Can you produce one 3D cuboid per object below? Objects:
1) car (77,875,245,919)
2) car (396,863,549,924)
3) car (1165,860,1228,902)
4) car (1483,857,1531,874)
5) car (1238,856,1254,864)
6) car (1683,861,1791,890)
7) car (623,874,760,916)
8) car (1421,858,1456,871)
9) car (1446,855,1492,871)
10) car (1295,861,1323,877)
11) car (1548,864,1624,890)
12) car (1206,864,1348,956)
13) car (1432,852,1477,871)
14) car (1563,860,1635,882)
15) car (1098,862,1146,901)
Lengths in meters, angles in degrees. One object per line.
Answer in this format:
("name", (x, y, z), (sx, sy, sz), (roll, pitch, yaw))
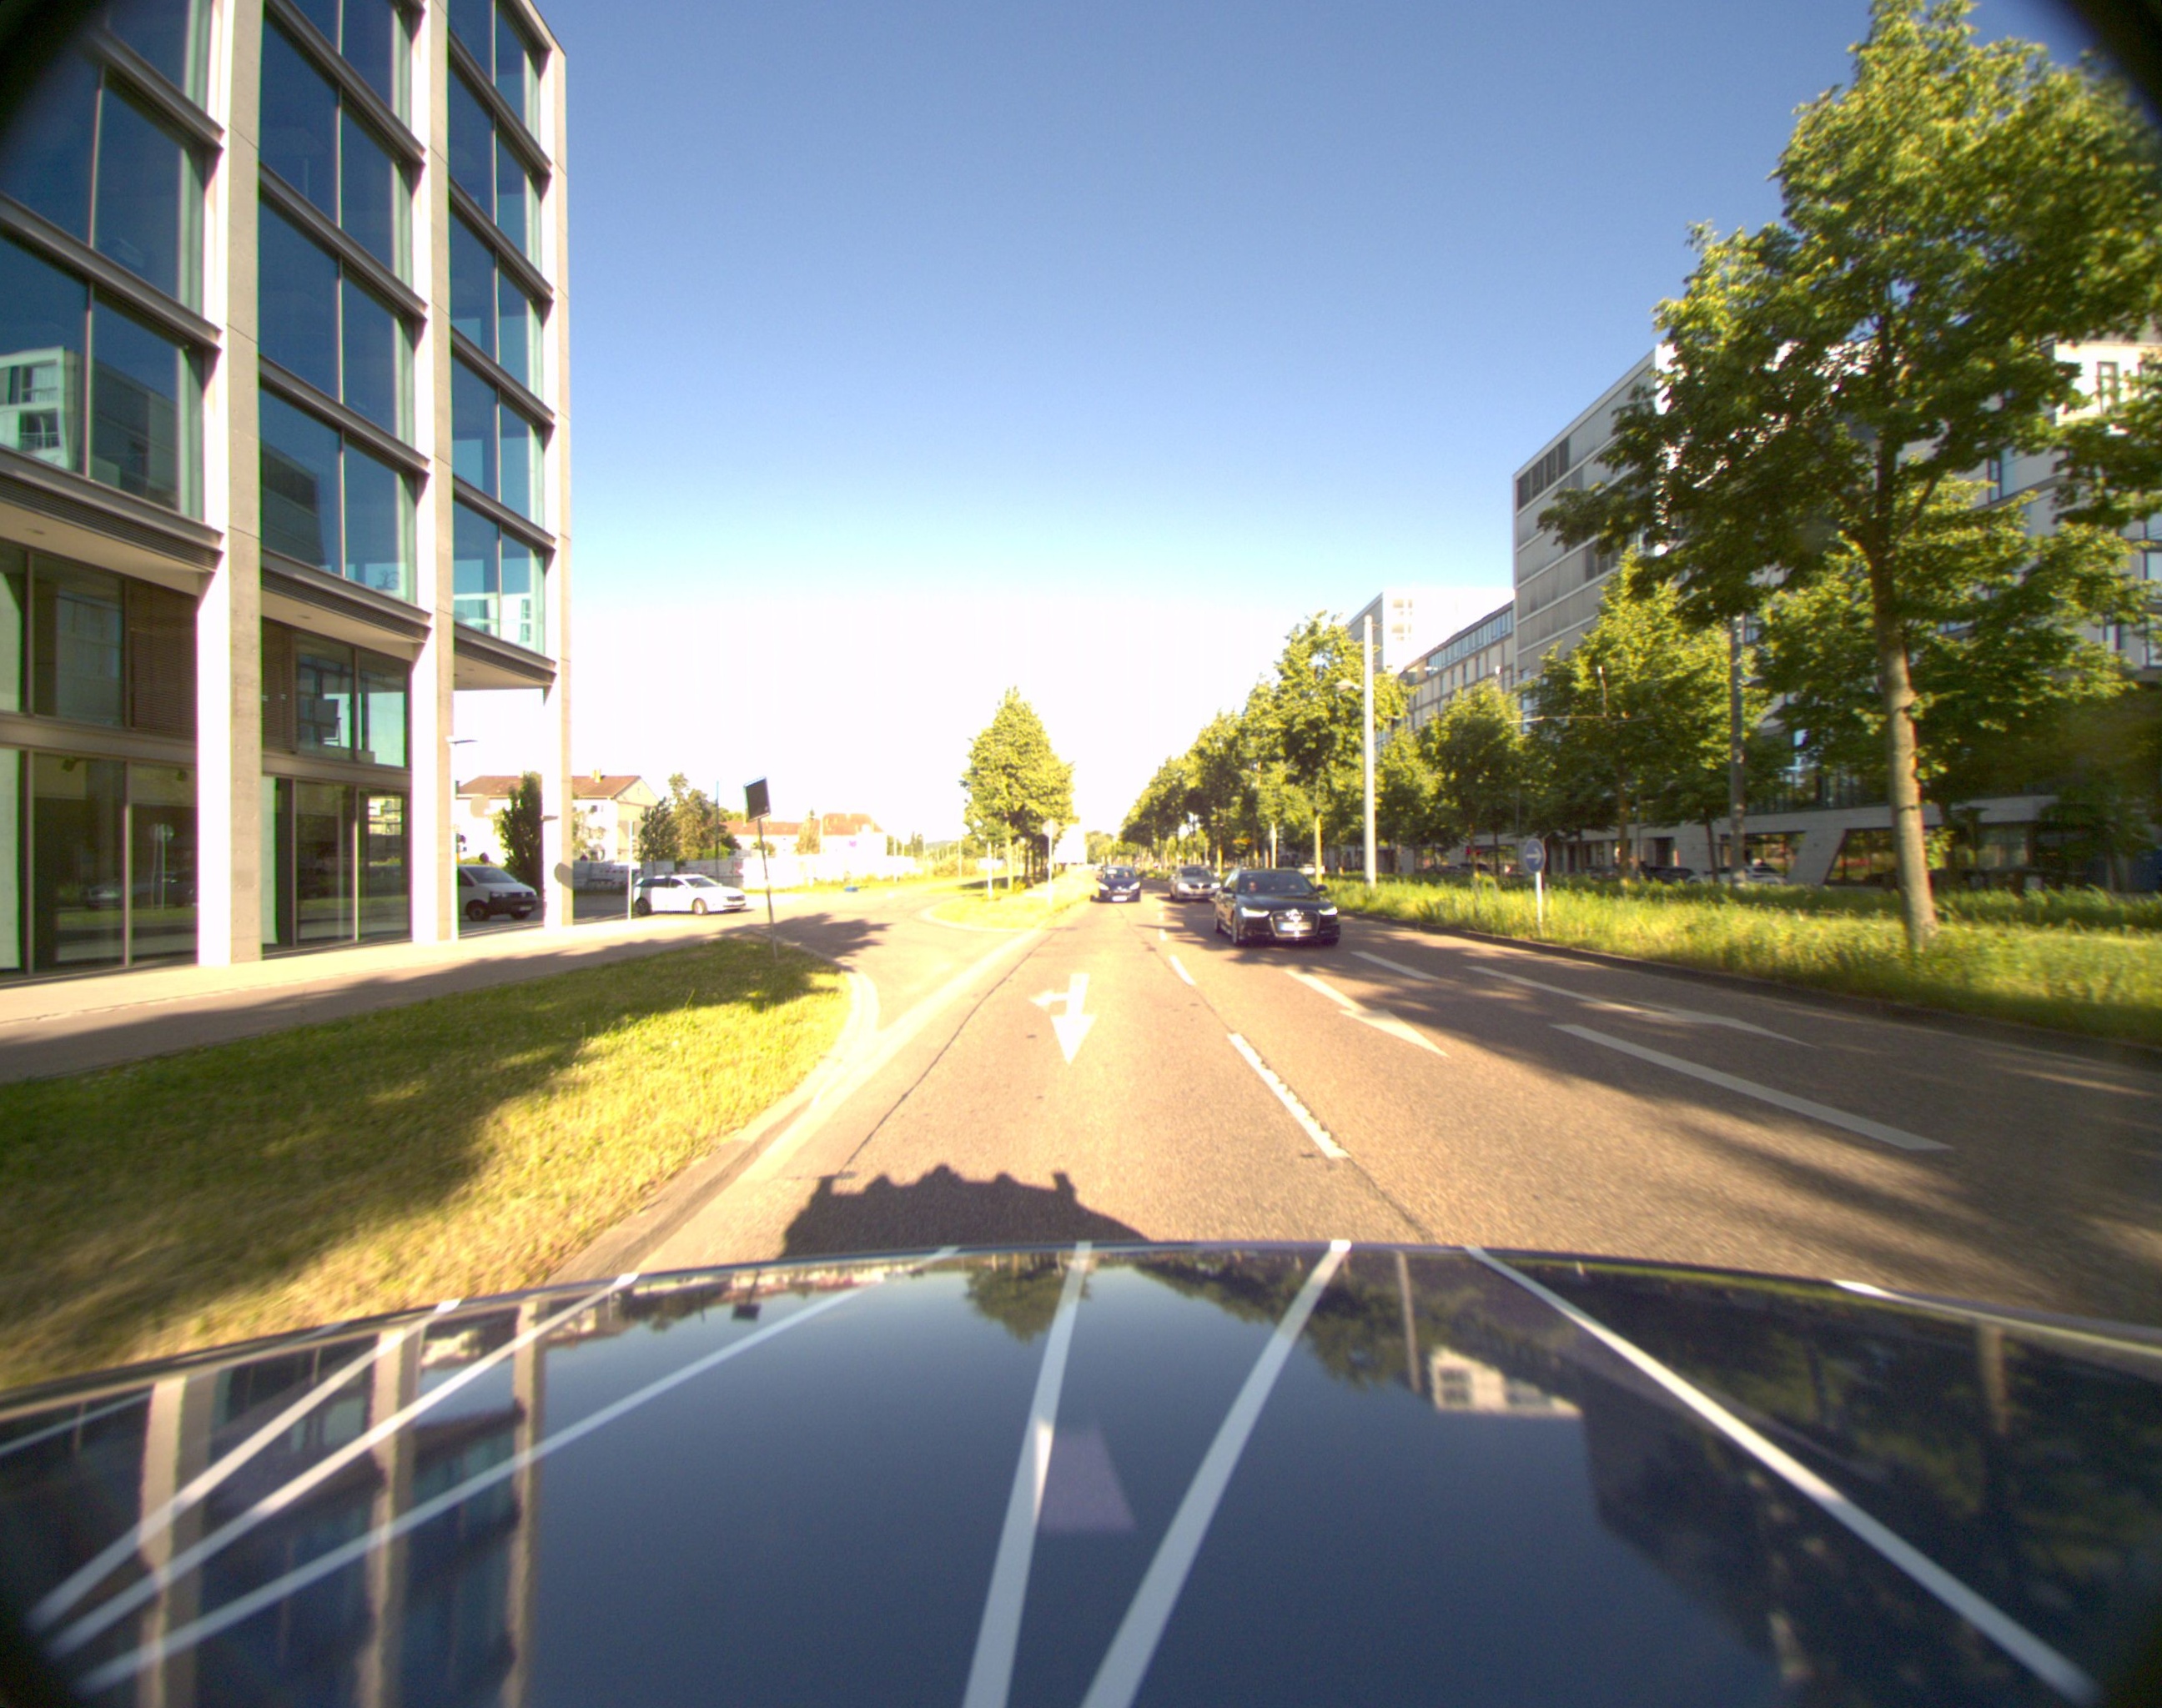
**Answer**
("car", (-37.506, 1.705, 31.154), (1.998, 1.606, 4.000), (-1, 0, 1))
("car", (-21.049, 1.310, 26.279), (5.071, 1.970, 1.941), (-1, 0, 23))
("car", (4.665, 1.045, 31.274), (1.849, 1.560, 4.528), (-1, 0, 0))
("car", (34.142, 0.896, 60.977), (1.737, 1.346, 3.753), (-1, 0, 0))
("car", (28.577, 0.997, 131.451), (1.802, 1.284, 4.311), (0, -1, 0))
("car", (34.158, 1.092, 39.747), (1.719, 1.411, 4.545), (-1, 0, 0))
("car", (-14.397, 1.480, 28.122), (4.518, 1.385, 1.775), (0, 1, 17))
("car", (34.167, 0.955, 72.688), (1.672, 1.200, 3.583), (-1, 0, -1))
("car", (34.365, 0.798, 67.444), (1.672, 1.411, 4.805), (0, 0, 0))
("car", (25.524, 1.686, 85.300), (1.802, 1.678, 4.321), (-2, -1, 0))
("car", (30.582, 1.371, 46.165), (1.719, 1.412, 4.545), (-1, 0, 2))
("car", (3.744, 0.999, 15.345), (1.788, 1.518, 4.602), (-1, 0, 2))
("car", (37.374, 0.764, 76.160), (1.802, 1.766, 5.129), (-2, -1, -1))
("car", (34.284, 1.089, 50.484), (1.719, 1.411, 4.545), (-1, 0, 0))
("car", (1.660, 1.105, 31.883), (1.763, 1.506, 3.948), (-1, 0, -1))
